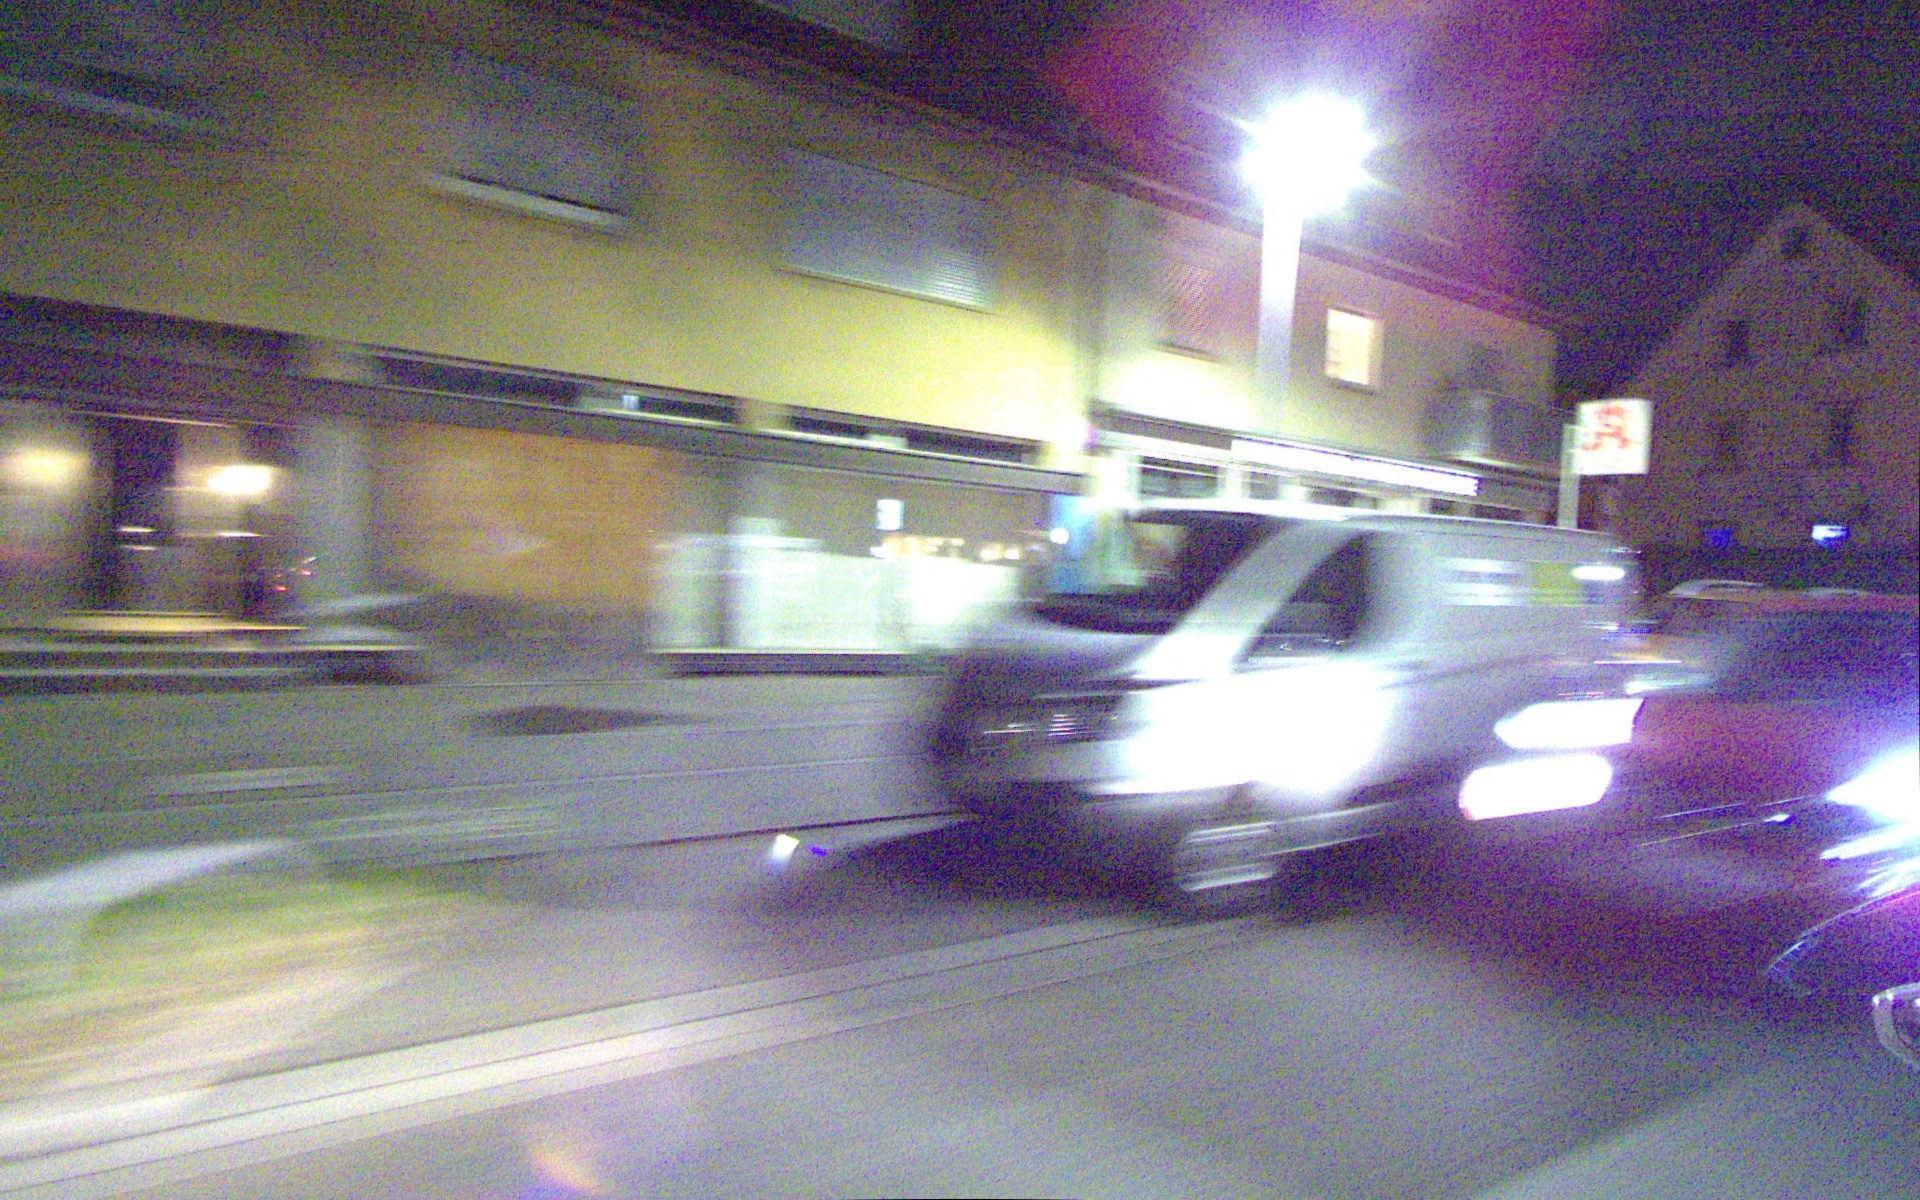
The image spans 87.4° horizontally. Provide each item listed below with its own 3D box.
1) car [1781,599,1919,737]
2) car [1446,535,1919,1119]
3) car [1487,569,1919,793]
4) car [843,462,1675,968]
[{"bbox_3d":[13.124,0.851,13.353,4.428,1.569,2.103,1,3,-33],"label":"car"},{"bbox_3d":[4.233,0.689,4.564,3.913,1.738,1.711,1,1,-30],"label":"car"},{"bbox_3d":[7.377,0.630,9.843,4.124,1.693,2.103,1,3,-33],"label":"car"},{"bbox_3d":[1.959,0.405,6.084,4.835,1.973,2.103,1,4,-33],"label":"car"}]
